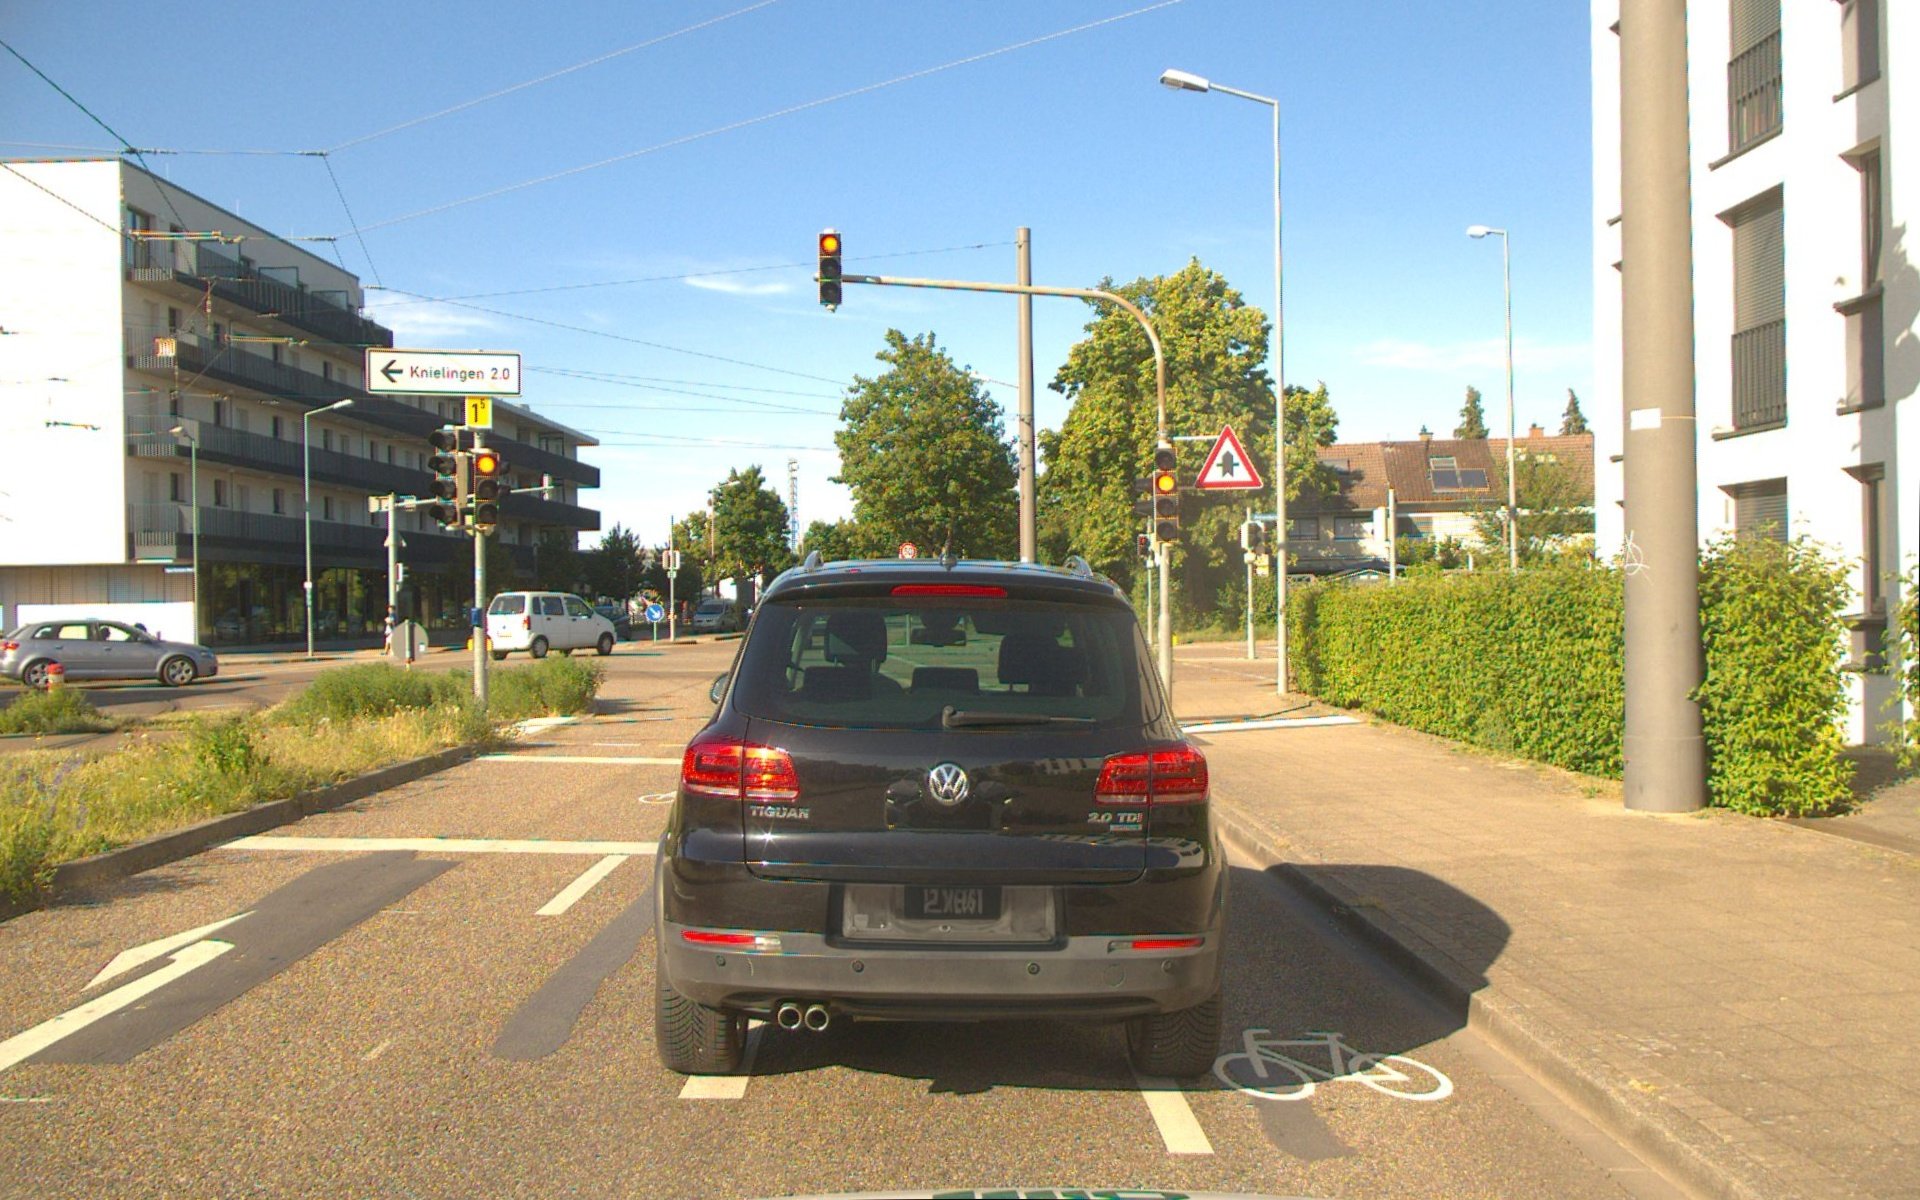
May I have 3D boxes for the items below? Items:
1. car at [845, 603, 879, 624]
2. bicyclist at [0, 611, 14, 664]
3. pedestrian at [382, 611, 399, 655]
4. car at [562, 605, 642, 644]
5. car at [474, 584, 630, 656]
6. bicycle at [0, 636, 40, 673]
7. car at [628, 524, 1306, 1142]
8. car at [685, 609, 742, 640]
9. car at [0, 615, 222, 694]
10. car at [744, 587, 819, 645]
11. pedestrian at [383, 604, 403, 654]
[{"bbox_3d":[-7.859,1.064,132.397,1.951,1.601,4.342,1,0,7],"label":"car"},{"bbox_3d":[-30.474,1.189,52.543,0.631,1.642,0.778,1,-1,-27],"label":"bicyclist"},{"bbox_3d":[-19.972,1.154,57.985,0.433,1.529,0.517,1,-1,-6],"label":"pedestrian"},{"bbox_3d":[-15.382,1.043,71.299,1.951,1.601,4.343,1,0,9],"label":"car"},{"bbox_3d":[-10.378,0.486,42.300,1.830,1.750,3.678,0,0,31],"label":"car"},{"bbox_3d":[-30.351,1.734,52.635,1.833,1.144,0.815,1,-1,-28],"label":"bicycle"},{"bbox_3d":[-0.004,0.649,6.531,1.831,1.666,3.999,1,0,-1],"label":"car"},{"bbox_3d":[-13.116,1.273,88.205,1.951,1.601,4.342,1,0,7],"label":"car"},{"bbox_3d":[-18.082,1.119,35.273,4.059,1.511,1.849,-1,0,-33],"label":"car"},{"bbox_3d":[-6.022,0.529,55.509,1.960,1.869,3.985,1,0,-14],"label":"car"},{"bbox_3d":[-20.056,1.020,58.533,0.532,1.774,0.517,1,-1,-6],"label":"pedestrian"}]
